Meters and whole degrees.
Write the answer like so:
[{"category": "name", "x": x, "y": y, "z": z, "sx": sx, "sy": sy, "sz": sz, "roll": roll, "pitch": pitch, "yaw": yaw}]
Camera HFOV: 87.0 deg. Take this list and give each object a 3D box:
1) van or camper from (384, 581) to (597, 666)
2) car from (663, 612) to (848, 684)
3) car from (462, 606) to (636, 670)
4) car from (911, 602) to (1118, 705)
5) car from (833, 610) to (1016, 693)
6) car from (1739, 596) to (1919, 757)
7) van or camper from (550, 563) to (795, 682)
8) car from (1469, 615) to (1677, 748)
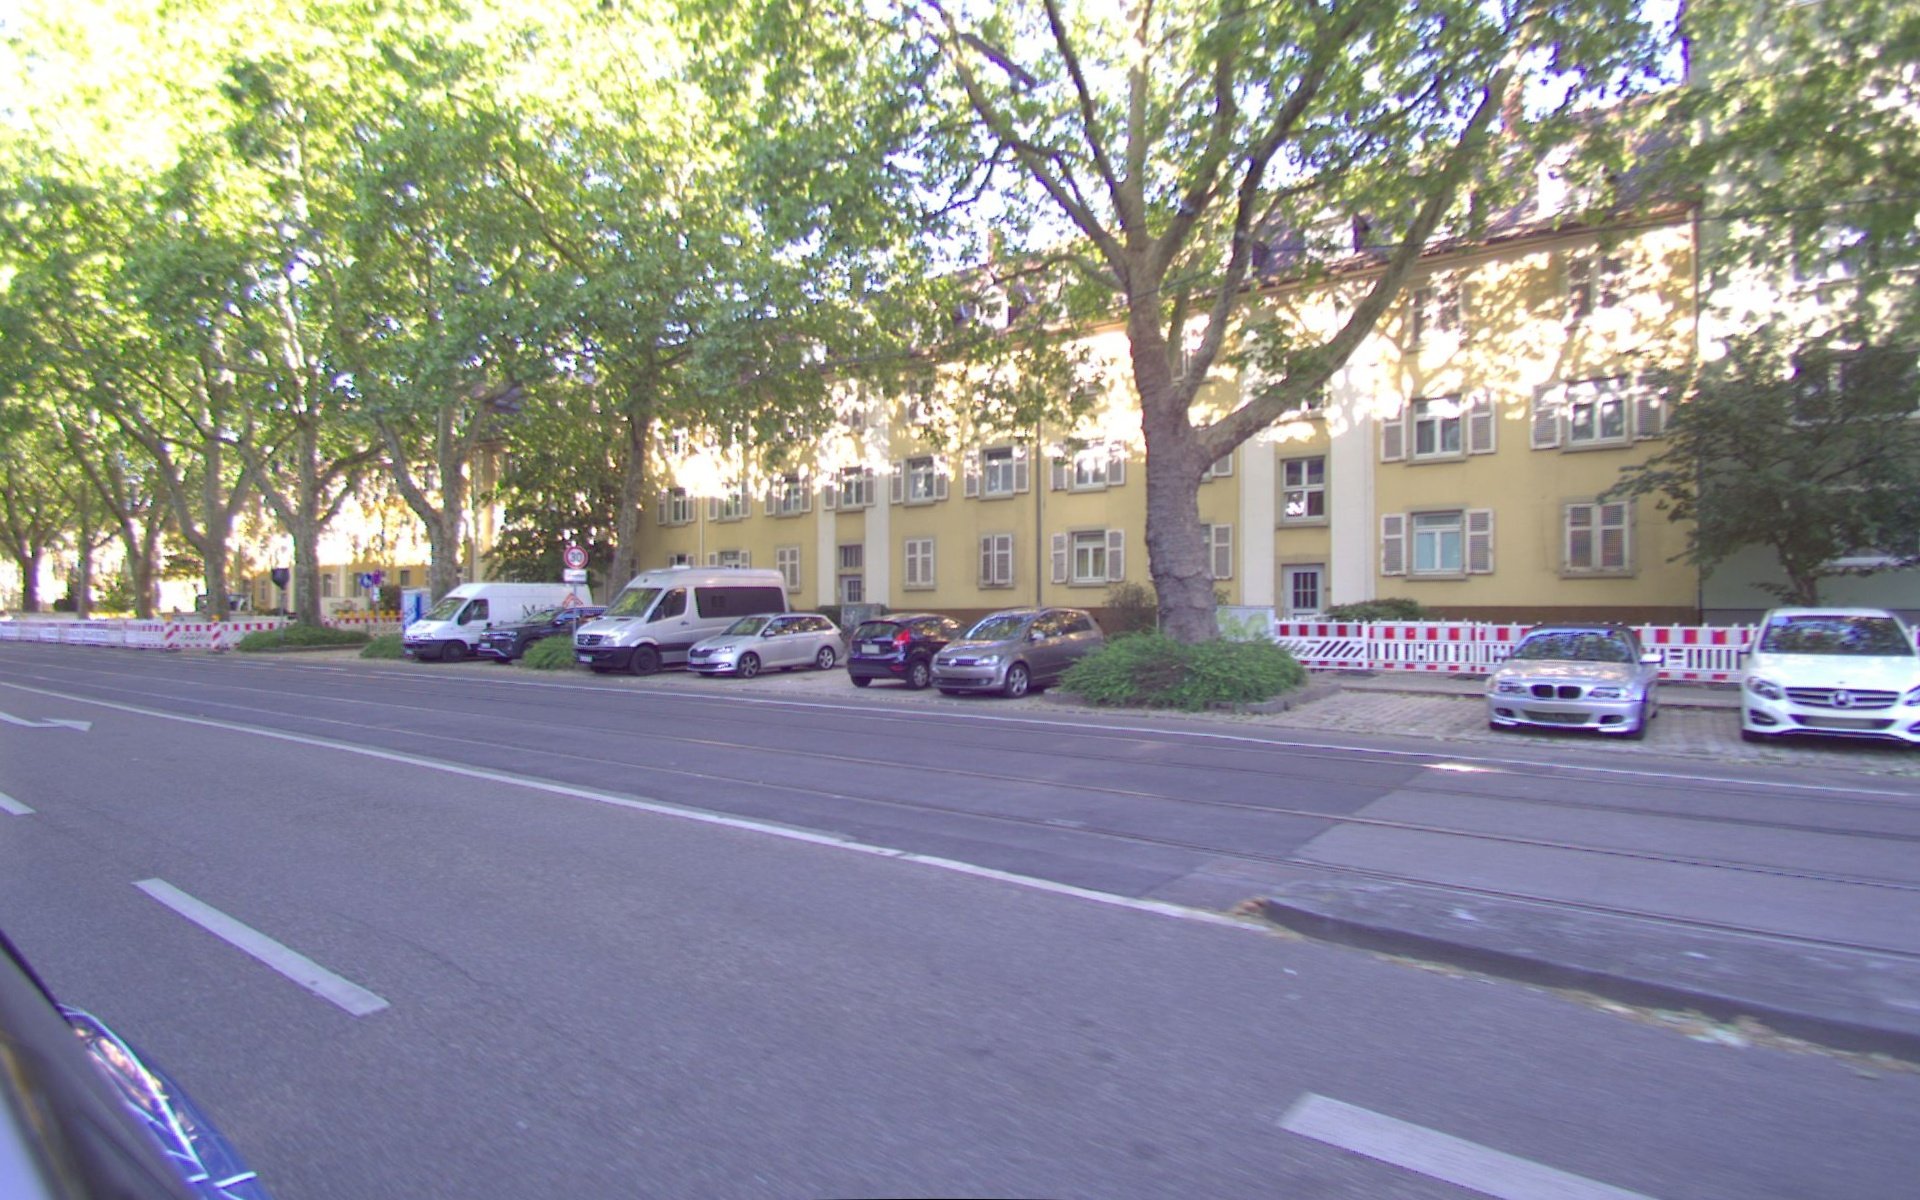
[{"category": "van or camper", "x": -14.457, "y": 0.638, "z": 31.509, "sx": 2.153, "sy": 2.403, "sz": 5.693, "roll": 0, "pitch": 1, "yaw": 38}, {"category": "car", "x": -4.798, "y": 1.074, "z": 24.242, "sx": 1.692, "sy": 1.457, "sz": 4.223, "roll": 0, "pitch": 1, "yaw": 39}, {"category": "car", "x": -11.921, "y": 1.047, "z": 29.597, "sx": 1.692, "sy": 1.645, "sz": 4.484, "roll": 0, "pitch": 1, "yaw": 39}, {"category": "car", "x": 1.113, "y": 0.889, "z": 18.864, "sx": 1.843, "sy": 1.631, "sz": 4.030, "roll": 0, "pitch": 1, "yaw": 39}, {"category": "car", "x": -0.651, "y": 0.986, "z": 20.922, "sx": 1.692, "sy": 1.457, "sz": 3.813, "roll": 0, "pitch": 1, "yaw": 39}, {"category": "car", "x": 10.718, "y": 0.779, "z": 12.315, "sx": 1.843, "sy": 1.624, "sz": 4.030, "roll": 0, "pitch": 1, "yaw": 39}, {"category": "van or camper", "x": -7.104, "y": 0.465, "z": 25.730, "sx": 2.153, "sy": 2.668, "sz": 5.860, "roll": 0, "pitch": 1, "yaw": 38}, {"category": "car", "x": 8.314, "y": 0.953, "z": 13.567, "sx": 1.843, "sy": 1.379, "sz": 4.030, "roll": 0, "pitch": 1, "yaw": 39}]
